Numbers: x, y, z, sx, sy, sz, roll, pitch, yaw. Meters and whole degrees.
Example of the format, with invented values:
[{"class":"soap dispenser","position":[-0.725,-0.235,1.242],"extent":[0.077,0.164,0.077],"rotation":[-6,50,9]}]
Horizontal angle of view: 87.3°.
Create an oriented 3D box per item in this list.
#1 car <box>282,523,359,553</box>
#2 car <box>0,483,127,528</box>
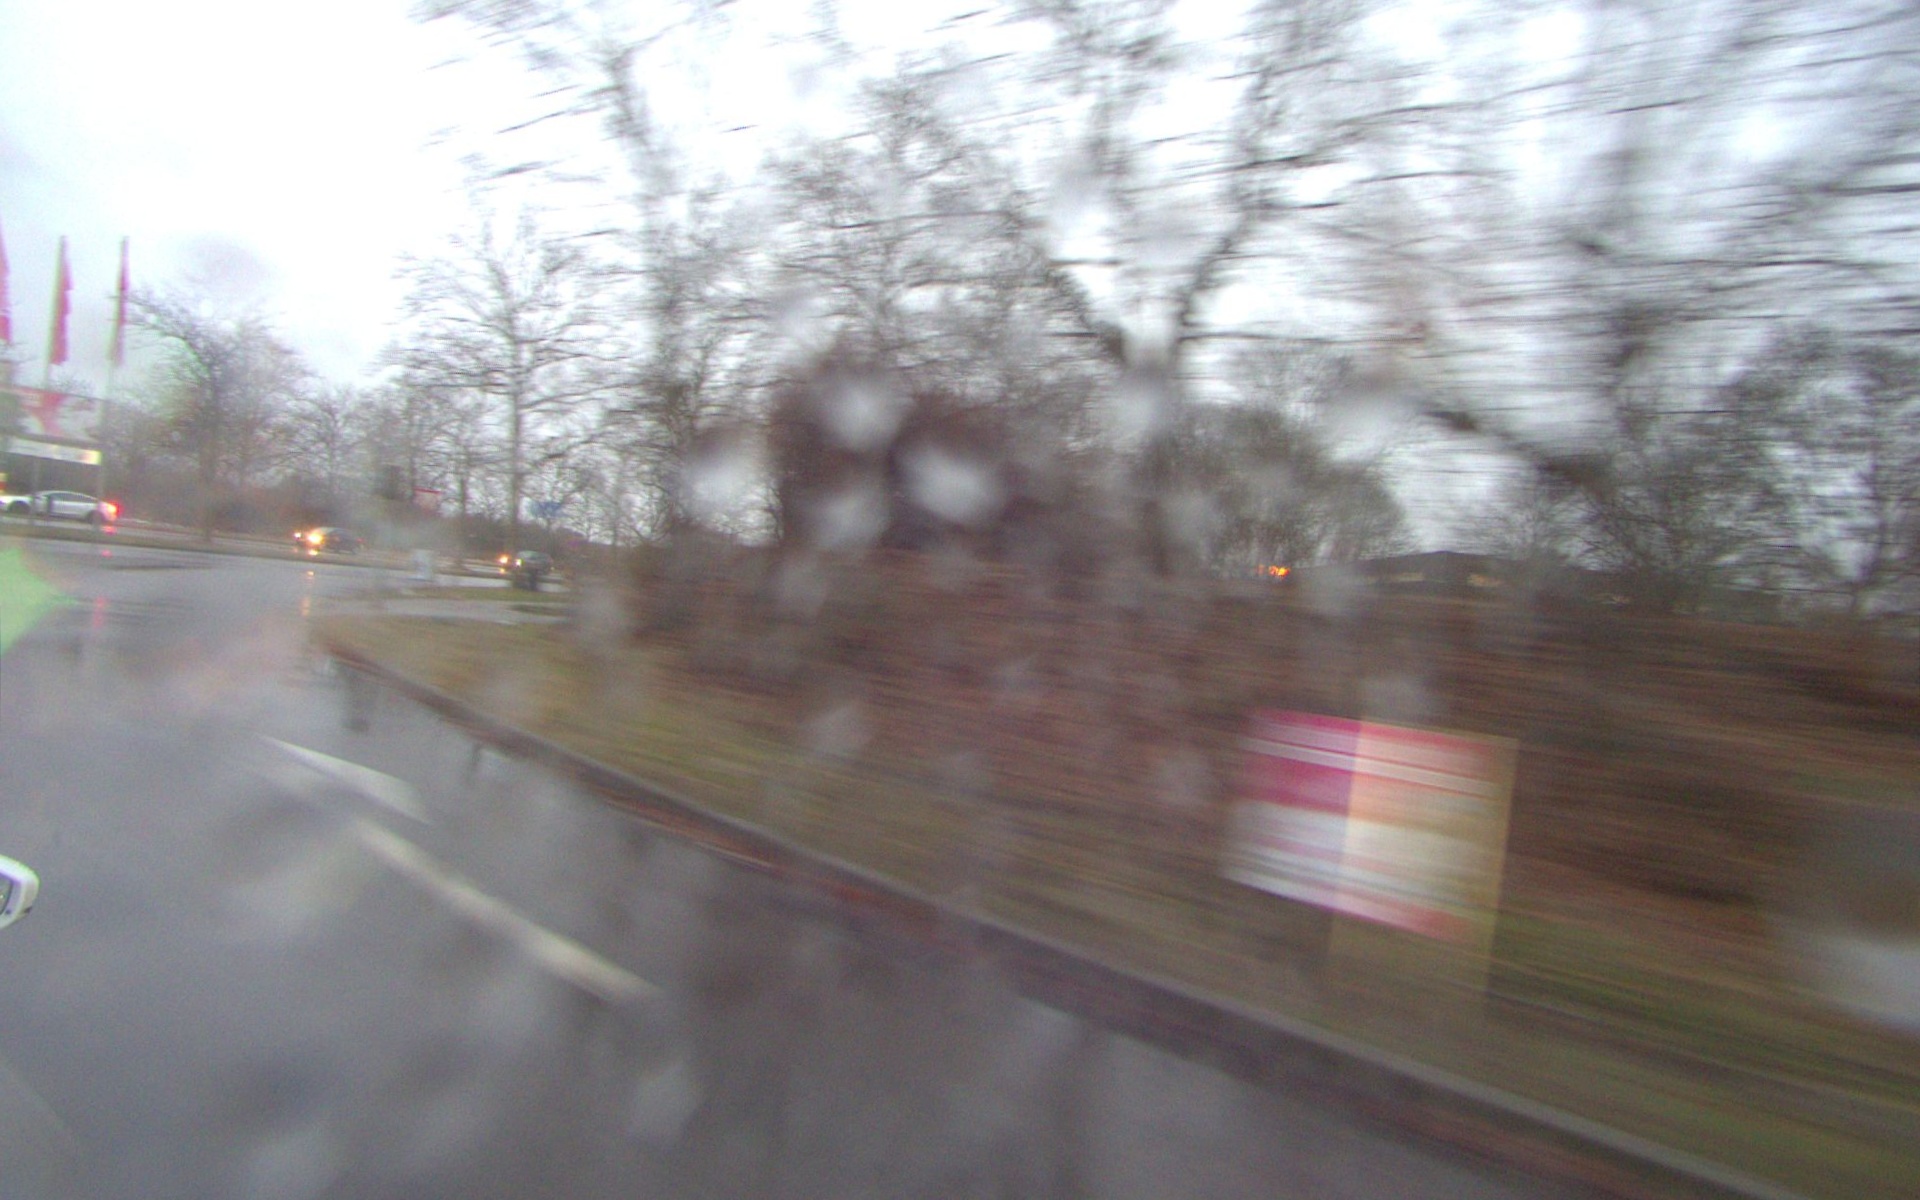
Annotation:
[{"class":"car","position":[-39.249,-3.792,61.843],"extent":[1.606,1.325,4.003],"rotation":[7,-1,9]},{"class":"car","position":[-43.859,-4.571,48.916],"extent":[1.852,1.392,4.745],"rotation":[7,-1,33]}]
